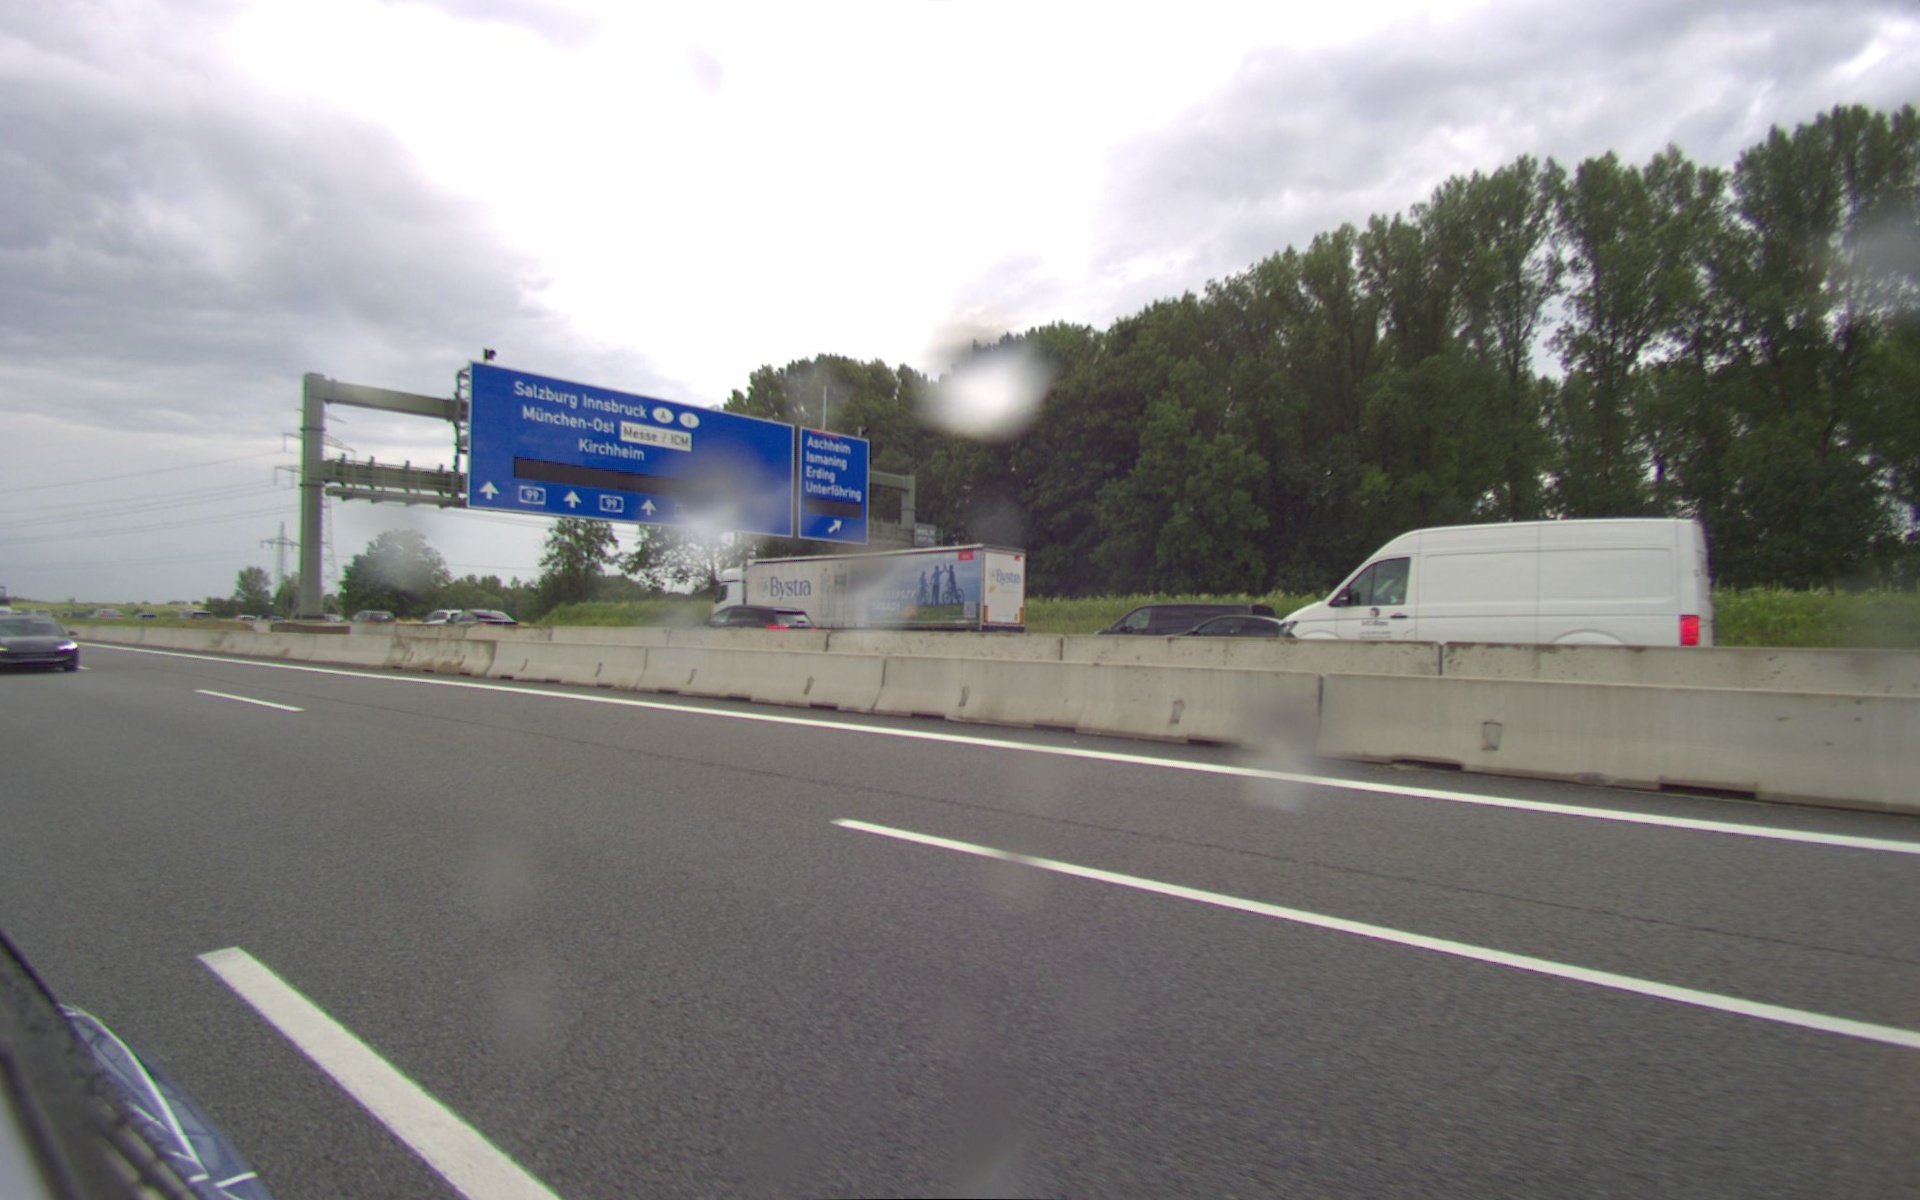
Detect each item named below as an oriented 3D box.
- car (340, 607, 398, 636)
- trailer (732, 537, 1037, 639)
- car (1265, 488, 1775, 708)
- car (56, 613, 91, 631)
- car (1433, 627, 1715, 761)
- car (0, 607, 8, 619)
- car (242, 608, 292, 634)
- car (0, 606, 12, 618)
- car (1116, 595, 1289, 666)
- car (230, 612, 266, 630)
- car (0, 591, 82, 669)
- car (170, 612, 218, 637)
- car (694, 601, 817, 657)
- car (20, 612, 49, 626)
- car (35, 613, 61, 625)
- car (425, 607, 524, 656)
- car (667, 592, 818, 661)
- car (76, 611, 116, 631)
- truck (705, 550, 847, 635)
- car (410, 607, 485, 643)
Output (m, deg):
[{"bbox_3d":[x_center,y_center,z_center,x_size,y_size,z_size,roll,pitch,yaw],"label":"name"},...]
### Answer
[{"bbox_3d":[-37.239,1.351,63.771,4.015,1.740,1.973,-1,-1,41],"label":"car"},{"bbox_3d":[-3.593,-0.336,41.134,14.443,3.534,3.078,-1,-1,41],"label":"trailer"},{"bbox_3d":[7.950,0.012,14.984,6.339,2.636,1.973,-1,-1,41],"label":"car"},{"bbox_3d":[-84.925,2.108,96.920,4.347,1.625,1.764,-1,-1,38],"label":"car"},{"bbox_3d":[10.749,1.525,17.843,3.997,2.029,1.973,-1,-1,40],"label":"car"},{"bbox_3d":[-123.563,1.676,129.684,3.997,1.422,1.801,-1,-1,40],"label":"car"},{"bbox_3d":[-48.778,1.450,71.208,4.015,1.740,1.973,-1,-1,41],"label":"car"},{"bbox_3d":[-153.570,1.955,162.033,4.949,1.985,2.051,-1,-1,40],"label":"car"},{"bbox_3d":[6.371,0.771,26.754,3.998,1.719,1.973,-1,-1,41],"label":"car"},{"bbox_3d":[-71.169,2.100,101.096,4.347,1.710,1.764,-1,-1,38],"label":"car"},{"bbox_3d":[-24.289,0.742,26.146,5.164,1.834,1.971,-1,-1,44],"label":"car"},{"bbox_3d":[-51.628,1.602,68.222,3.997,1.627,1.779,-1,-1,40],"label":"car"},{"bbox_3d":[-6.834,0.940,33.630,4.015,1.740,1.973,-1,-1,41],"label":"car"},{"bbox_3d":[-99.276,2.053,108.545,3.997,1.422,1.801,-1,-1,40],"label":"car"},{"bbox_3d":[-108.815,2.255,120.723,3.997,1.422,1.801,-1,-1,40],"label":"car"},{"bbox_3d":[-18.417,1.160,38.345,4.015,1.740,1.973,-1,-1,41],"label":"car"},{"bbox_3d":[-5.704,0.664,26.360,3.998,1.670,1.849,-1,-1,41],"label":"car"},{"bbox_3d":[-73.971,1.772,86.604,4.496,1.710,1.764,-1,-1,38],"label":"car"},{"bbox_3d":[-8.275,-0.268,45.229,6.096,3.534,3.103,-1,-1,41],"label":"truck"},{"bbox_3d":[-25.640,1.211,50.622,4.015,1.740,1.973,-1,-1,41],"label":"car"}]
